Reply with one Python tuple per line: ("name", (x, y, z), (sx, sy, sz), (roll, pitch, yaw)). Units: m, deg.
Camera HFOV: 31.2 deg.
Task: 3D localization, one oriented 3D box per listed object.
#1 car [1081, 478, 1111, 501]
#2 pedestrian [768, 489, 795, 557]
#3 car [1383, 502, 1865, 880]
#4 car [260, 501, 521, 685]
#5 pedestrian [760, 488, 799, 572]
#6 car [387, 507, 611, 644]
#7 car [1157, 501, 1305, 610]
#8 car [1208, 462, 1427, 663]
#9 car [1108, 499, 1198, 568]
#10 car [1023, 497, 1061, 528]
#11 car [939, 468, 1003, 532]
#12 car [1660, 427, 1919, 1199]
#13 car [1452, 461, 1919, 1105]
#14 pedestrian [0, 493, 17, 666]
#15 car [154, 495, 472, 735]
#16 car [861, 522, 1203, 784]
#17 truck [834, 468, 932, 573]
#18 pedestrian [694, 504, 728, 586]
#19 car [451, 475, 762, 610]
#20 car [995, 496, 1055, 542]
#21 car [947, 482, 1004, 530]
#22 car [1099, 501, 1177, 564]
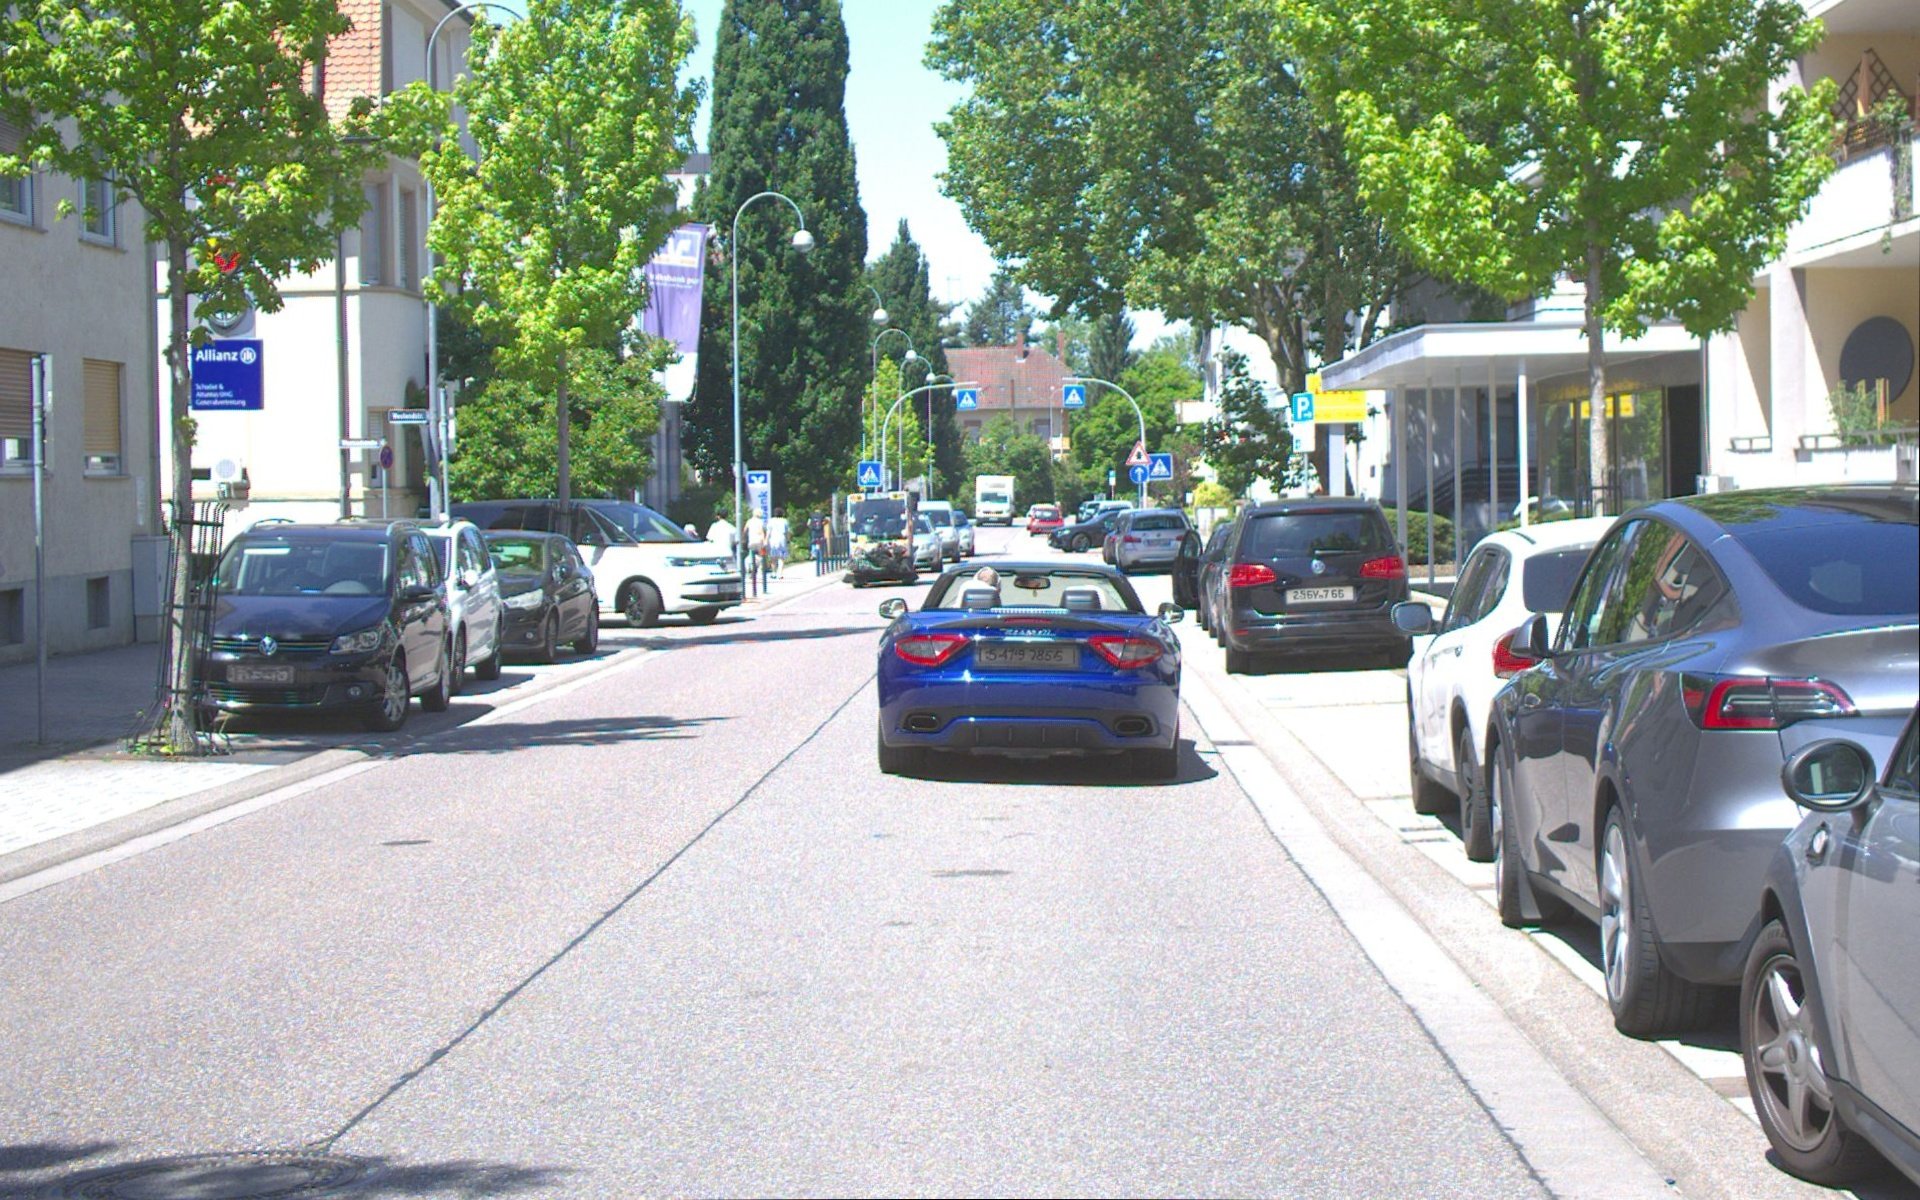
("car", (9.360, -7.589, 236.384), (1.951, 1.471, 4.137), (-2, 2, 3))
("pedestrian", (-4.198, -1.811, 80.805), (0.587, 1.569, 0.781), (0, 2, 1))
("car", (3.108, 0.342, 16.875), (1.722, 1.578, 4.225), (-2, 1, 3))
("car", (-5.529, -0.127, 33.882), (1.824, 1.614, 4.393), (1, 2, 0))
("pedestrian", (-4.243, -1.647, 80.805), (0.849, 1.909, 0.761), (-2, 4, -2))
("car", (-5.307, -0.326, 40.080), (1.754, 1.469, 4.321), (1, 2, 4))
("car", (3.770, -0.648, 48.354), (1.845, 1.409, 4.163), (-2, 1, 2))
("car", (3.578, -0.445, 35.118), (1.994, 1.792, 4.569), (-2, 3, 4))
("car", (4.558, -1.597, 81.691), (1.976, 1.445, 4.349), (-2, 3, 2))
("car", (3.878, -4.154, 163.285), (1.769, 1.471, 4.137), (0, 1, 1))
("car", (0.324, -2.950, 100.469), (1.769, 1.761, 4.138), (-2, 2, 0))
("car", (2.507, 0.446, 6.599), (1.622, 1.553, 3.840), (-1, 1, 2))
("car", (2.813, 0.410, 11.497), (1.764, 1.700, 4.705), (-2, 2, 2))
("pedestrian", (-9.686, -0.196, 33.896), (0.655, 1.674, 0.632), (-3, 4, -16))
("car", (-5.236, 0.050, 28.361), (1.729, 1.734, 4.393), (2, 2, 0))
("car", (0.461, 0.262, 22.649), (1.976, 1.393, 4.627), (2, 2, 1))
("truck", (-1.615, -1.732, 73.666), (1.804, 2.110, 4.715), (-2, 2, 2))
("pedestrian", (-4.489, -0.992, 61.872), (0.579, 1.469, 0.564), (-1, 1, -6))
("car", (-5.368, -0.844, 51.758), (4.902, 1.916, 1.908), (0, 2, 44))
("car", (2.200, -2.780, 116.962), (1.950, 1.471, 4.138), (-2, 2, 1))
("car", (0.522, -3.049, 111.591), (1.770, 1.471, 4.138), (-2, 2, 1))
("car", (4.850, -1.866, 93.933), (1.976, 1.551, 4.349), (-2, 3, 2))
